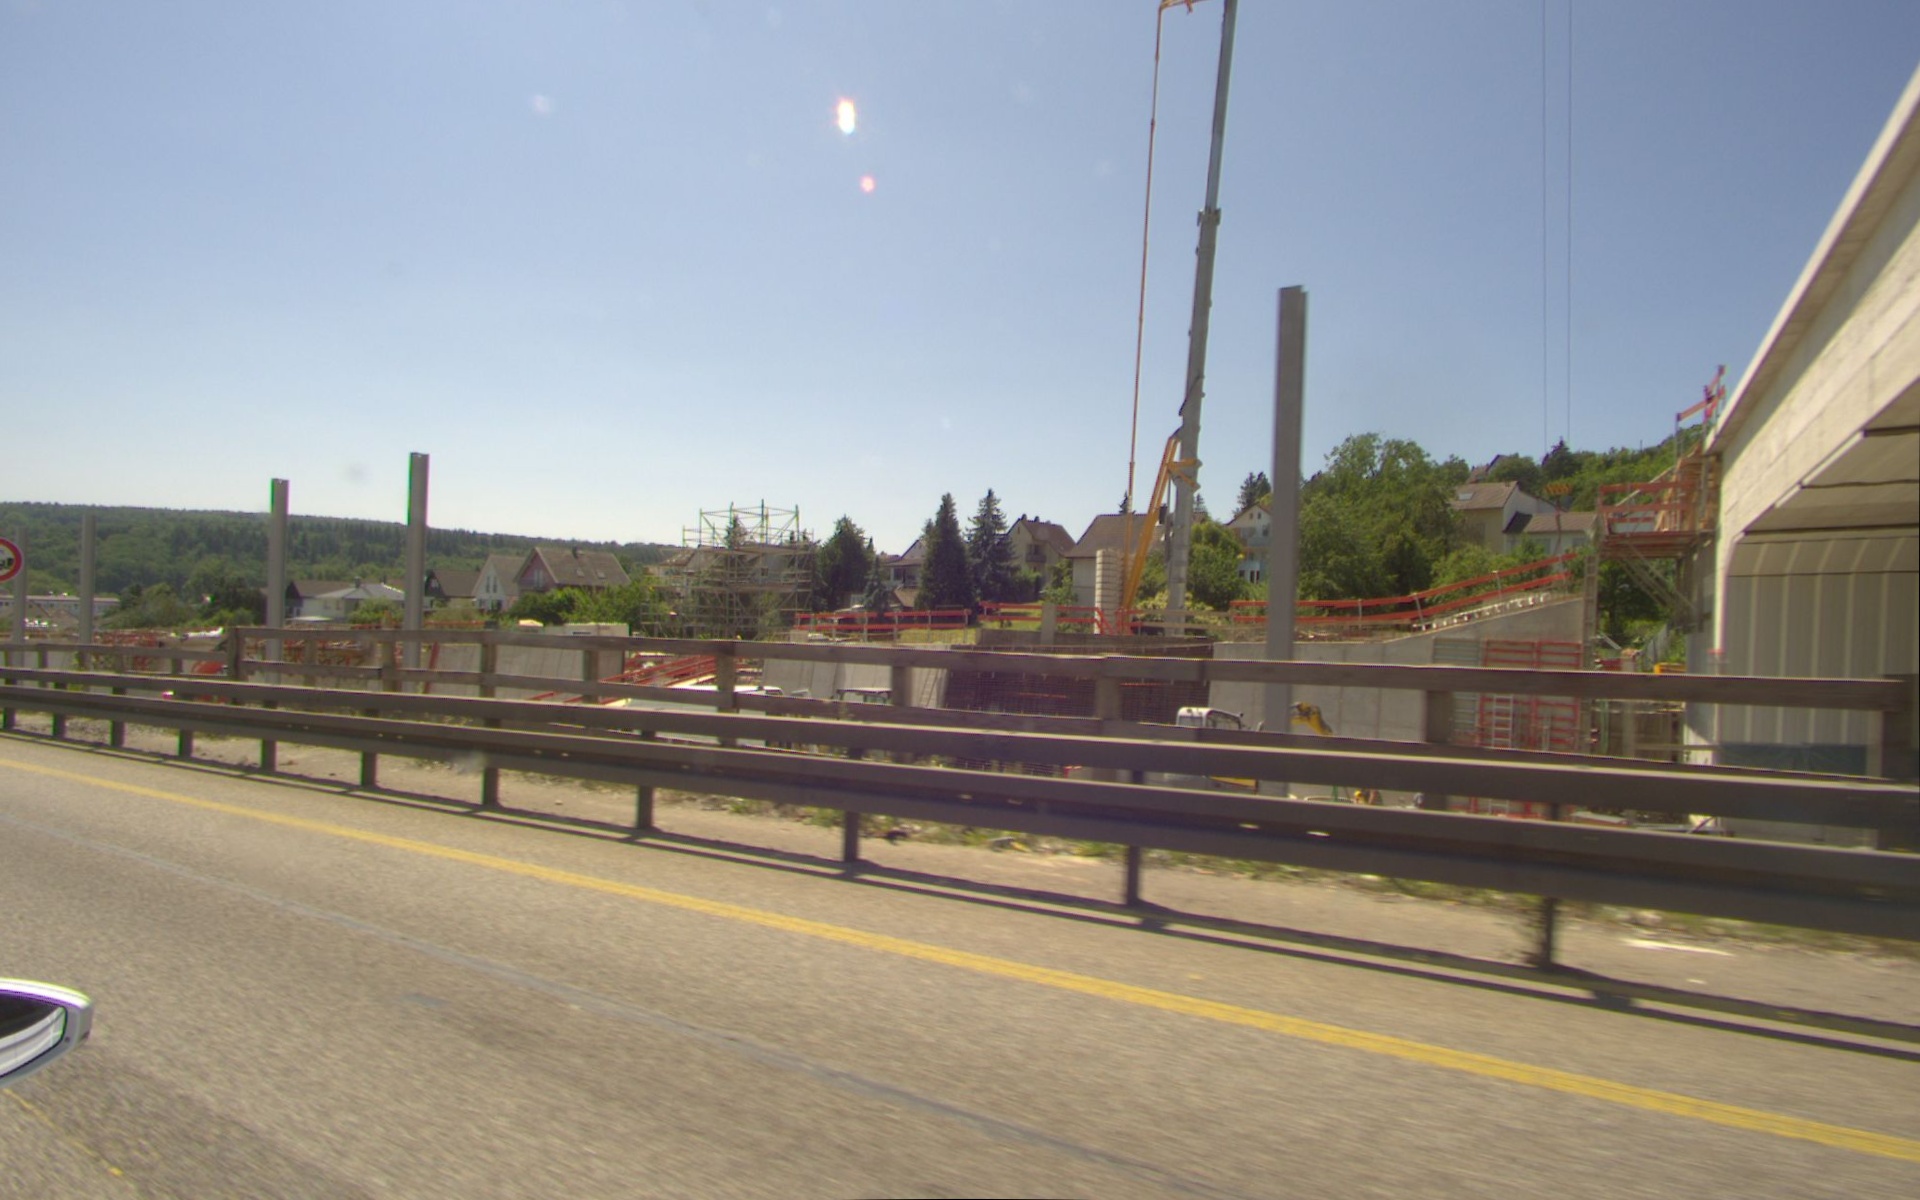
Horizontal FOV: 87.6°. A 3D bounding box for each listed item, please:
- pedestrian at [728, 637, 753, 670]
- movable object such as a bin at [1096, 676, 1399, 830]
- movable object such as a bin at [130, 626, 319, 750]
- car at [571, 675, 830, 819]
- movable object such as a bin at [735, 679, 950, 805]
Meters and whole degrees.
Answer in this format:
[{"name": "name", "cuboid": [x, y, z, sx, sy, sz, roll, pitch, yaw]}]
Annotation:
[{"name": "pedestrian", "cuboid": [-13.402, 3.262, 61.068, 0.960, 2.013, 1.134, -2, -2, 35]}, {"name": "movable object such as a bin", "cuboid": [7.250, 3.834, 24.807, 7.081, 2.931, 3.475, 12, -9, -35]}, {"name": "movable object such as a bin", "cuboid": [-31.380, 3.590, 42.580, 9.518, 4.803, 3.222, -2, -2, 32]}, {"name": "car", "cuboid": [-6.436, 3.355, 24.226, 6.931, 2.892, 2.139, -2, -2, 36]}, {"name": "movable object such as a bin", "cuboid": [-3.067, 3.437, 25.374, 5.430, 2.710, 2.138, -2, -2, 37]}]
